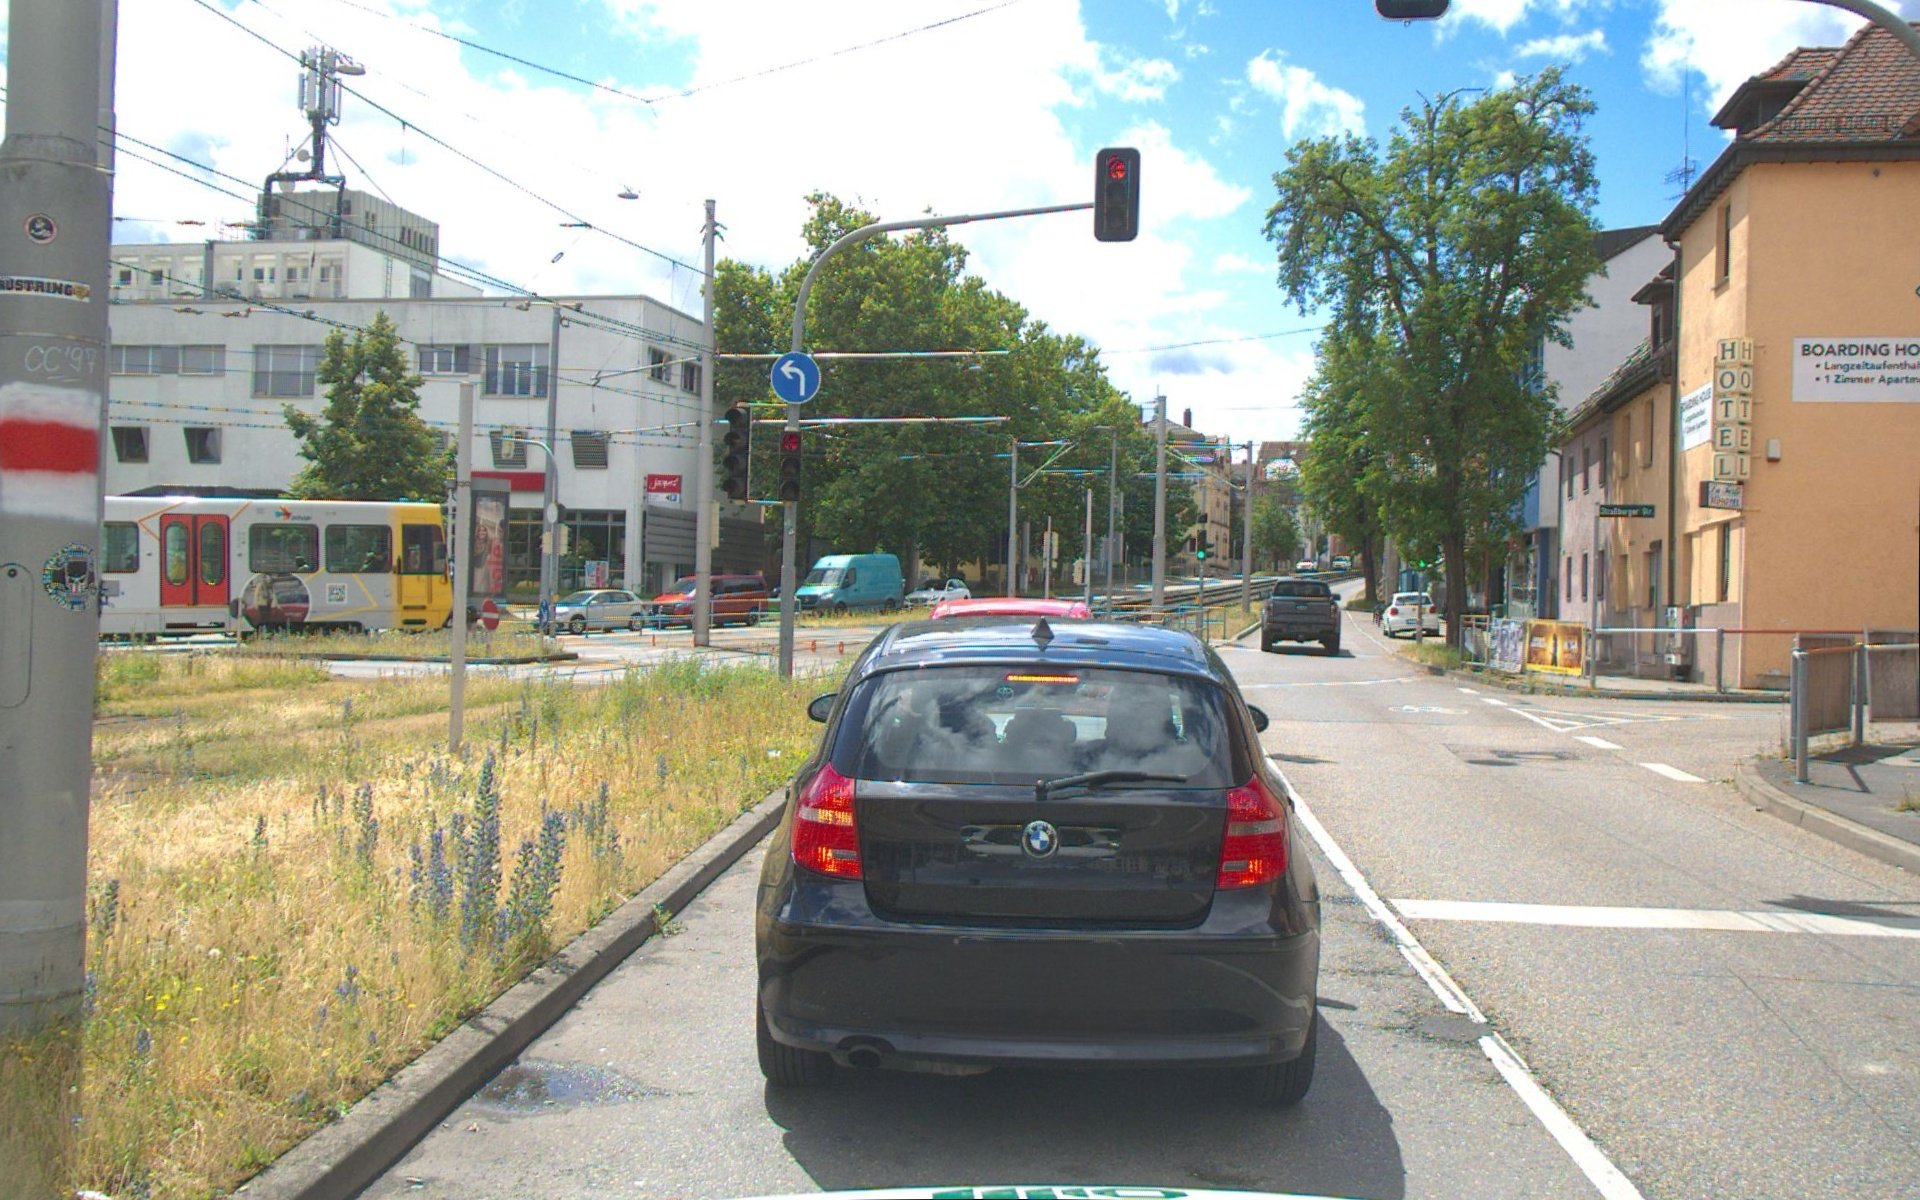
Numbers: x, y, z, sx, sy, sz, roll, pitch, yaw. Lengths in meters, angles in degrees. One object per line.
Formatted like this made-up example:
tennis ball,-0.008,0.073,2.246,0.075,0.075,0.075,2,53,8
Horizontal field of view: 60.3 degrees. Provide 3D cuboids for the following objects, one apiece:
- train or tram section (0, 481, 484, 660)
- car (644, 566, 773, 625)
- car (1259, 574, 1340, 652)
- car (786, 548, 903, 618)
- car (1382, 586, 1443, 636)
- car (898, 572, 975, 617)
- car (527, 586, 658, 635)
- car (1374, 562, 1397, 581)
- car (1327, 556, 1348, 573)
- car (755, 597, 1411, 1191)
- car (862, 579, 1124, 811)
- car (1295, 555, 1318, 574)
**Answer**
train or tram section,-21.268,-0.618,37.725,19.757,3.881,3.727,0,-1,-28
car,-9.143,-0.140,60.438,1.822,2.044,4.777,-1,-1,37
car,8.931,0.341,43.471,1.956,1.920,5.154,0,-1,12
car,-4.667,-0.643,67.695,2.090,2.701,5.682,-1,-1,28
car,15.309,0.368,56.107,1.749,1.624,4.003,0,-1,12
car,-1.027,-0.229,74.838,1.814,1.962,4.798,-1,-1,21
car,-12.374,0.365,55.861,1.823,1.613,4.149,-1,-1,39
car,40.966,-2.751,159.209,1.951,1.691,4.002,-1,-1,17
car,47.432,-4.475,207.820,1.952,2.049,4.000,-1,-1,21
car,0.218,0.758,6.197,1.667,1.477,3.997,0,-1,-3
car,0.406,0.639,12.799,1.590,1.499,4.003,0,-1,7
car,39.428,-4.055,188.394,1.952,2.049,4.000,-1,-1,21
